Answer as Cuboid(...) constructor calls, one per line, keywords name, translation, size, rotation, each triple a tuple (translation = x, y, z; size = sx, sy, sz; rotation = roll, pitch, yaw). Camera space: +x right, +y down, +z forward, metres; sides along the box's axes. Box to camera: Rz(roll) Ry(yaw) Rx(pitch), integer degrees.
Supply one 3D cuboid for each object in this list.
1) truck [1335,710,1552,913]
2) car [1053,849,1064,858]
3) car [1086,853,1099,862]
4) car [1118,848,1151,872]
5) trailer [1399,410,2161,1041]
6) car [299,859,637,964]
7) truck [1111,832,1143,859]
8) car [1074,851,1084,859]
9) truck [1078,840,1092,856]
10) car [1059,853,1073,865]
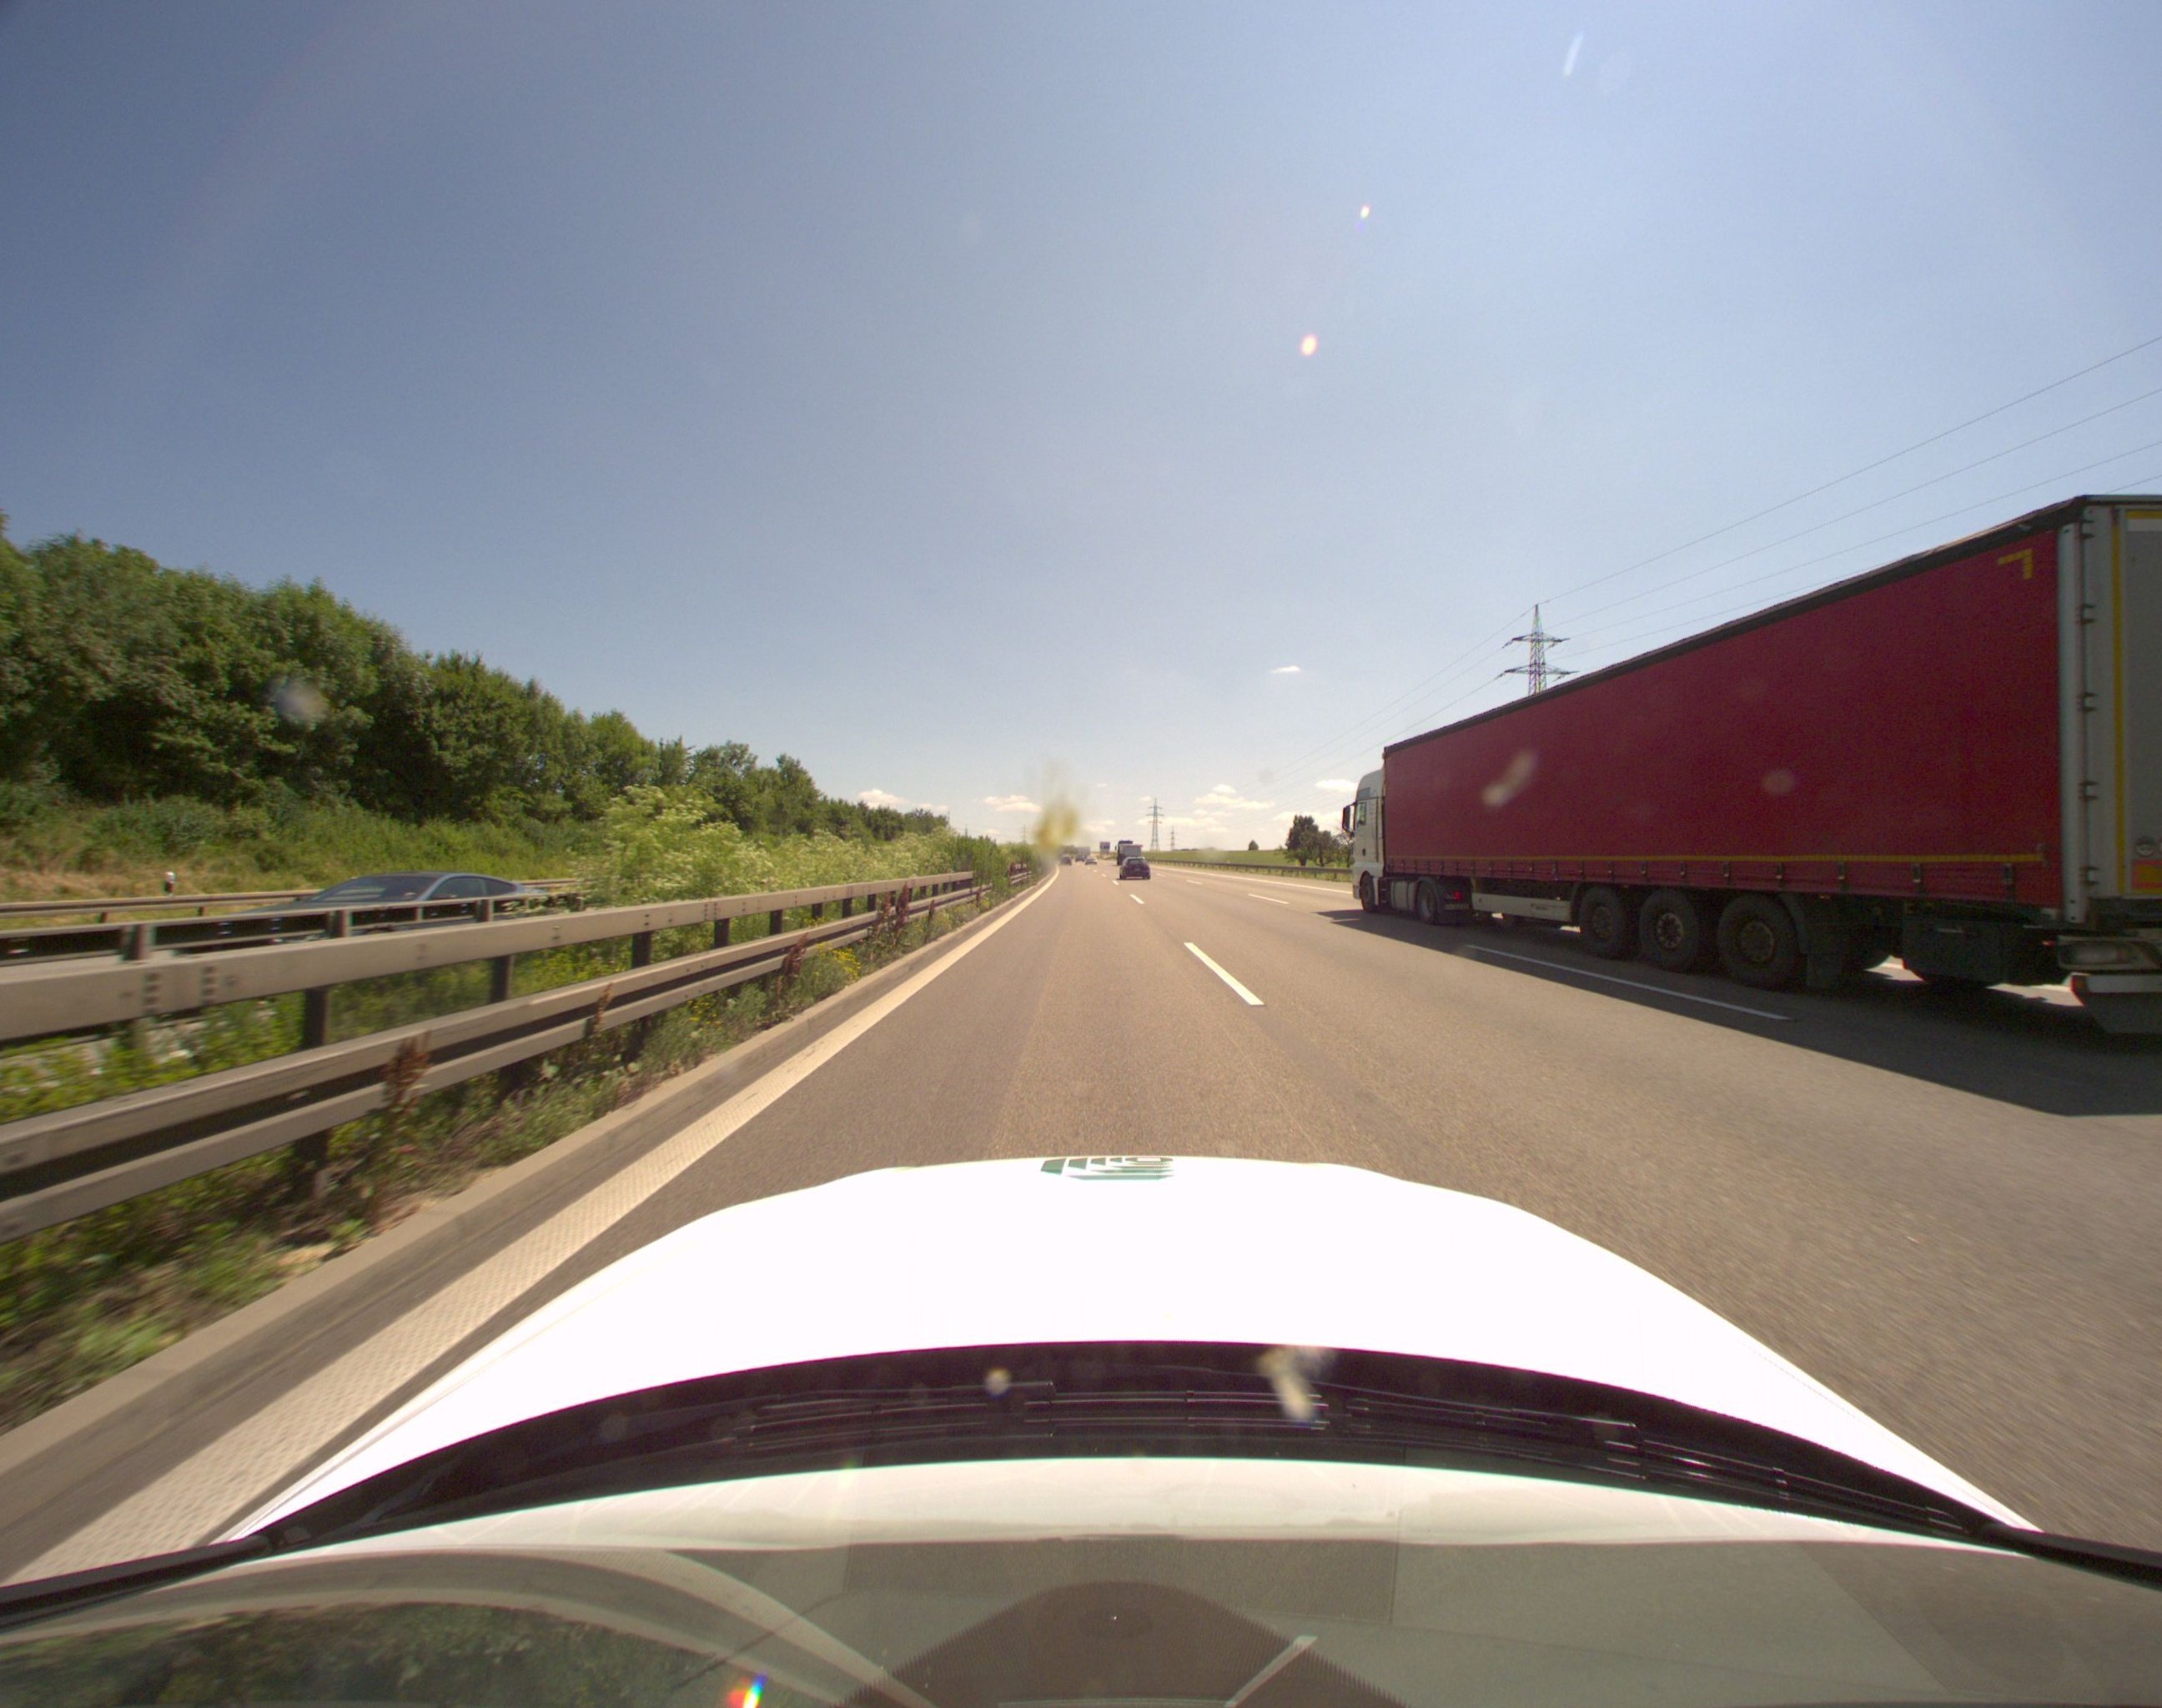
Cuboid(name="truck", translation=(8.464, -0.875, 19.957), size=(2.552, 4.153, 6.248), rotation=(-1, 0, 1))
Cuboid(name="car", translation=(-4.993, -0.163, 180.253), size=(1.900, 1.926, 3.990), rotation=(-1, 0, -7))
Cuboid(name="car", translation=(1.832, 0.570, 132.228), size=(1.816, 1.541, 3.908), rotation=(-1, 0, -4))
Cuboid(name="car", translation=(3.481, 0.388, 53.324), size=(1.752, 1.429, 3.997), rotation=(-1, 0, -2))
Cuboid(name="trailer", translation=(8.453, -0.886, 12.015), size=(2.592, 4.263, 13.035), rotation=(-1, 0, 1))
Cuboid(name="car", translation=(-9.368, 0.772, 13.091), size=(1.853, 1.352, 4.668), rotation=(0, 0, 1))
Cuboid(name="truck", translation=(6.684, -1.233, 120.695), size=(2.860, 3.723, 12.741), rotation=(-1, 0, -5))
Cuboid(name="car", translation=(-0.416, 0.191, 171.200), size=(1.836, 1.541, 3.907), rotation=(-1, 0, -5))
Cuboid(name="truck", translation=(0.998, -1.506, 210.724), size=(3.213, 3.924, 9.051), rotation=(-1, -1, -3))
Cuboid(name="car", translation=(-2.361, 0.760, 125.237), size=(1.989, 1.860, 3.996), rotation=(-1, 0, -3))
